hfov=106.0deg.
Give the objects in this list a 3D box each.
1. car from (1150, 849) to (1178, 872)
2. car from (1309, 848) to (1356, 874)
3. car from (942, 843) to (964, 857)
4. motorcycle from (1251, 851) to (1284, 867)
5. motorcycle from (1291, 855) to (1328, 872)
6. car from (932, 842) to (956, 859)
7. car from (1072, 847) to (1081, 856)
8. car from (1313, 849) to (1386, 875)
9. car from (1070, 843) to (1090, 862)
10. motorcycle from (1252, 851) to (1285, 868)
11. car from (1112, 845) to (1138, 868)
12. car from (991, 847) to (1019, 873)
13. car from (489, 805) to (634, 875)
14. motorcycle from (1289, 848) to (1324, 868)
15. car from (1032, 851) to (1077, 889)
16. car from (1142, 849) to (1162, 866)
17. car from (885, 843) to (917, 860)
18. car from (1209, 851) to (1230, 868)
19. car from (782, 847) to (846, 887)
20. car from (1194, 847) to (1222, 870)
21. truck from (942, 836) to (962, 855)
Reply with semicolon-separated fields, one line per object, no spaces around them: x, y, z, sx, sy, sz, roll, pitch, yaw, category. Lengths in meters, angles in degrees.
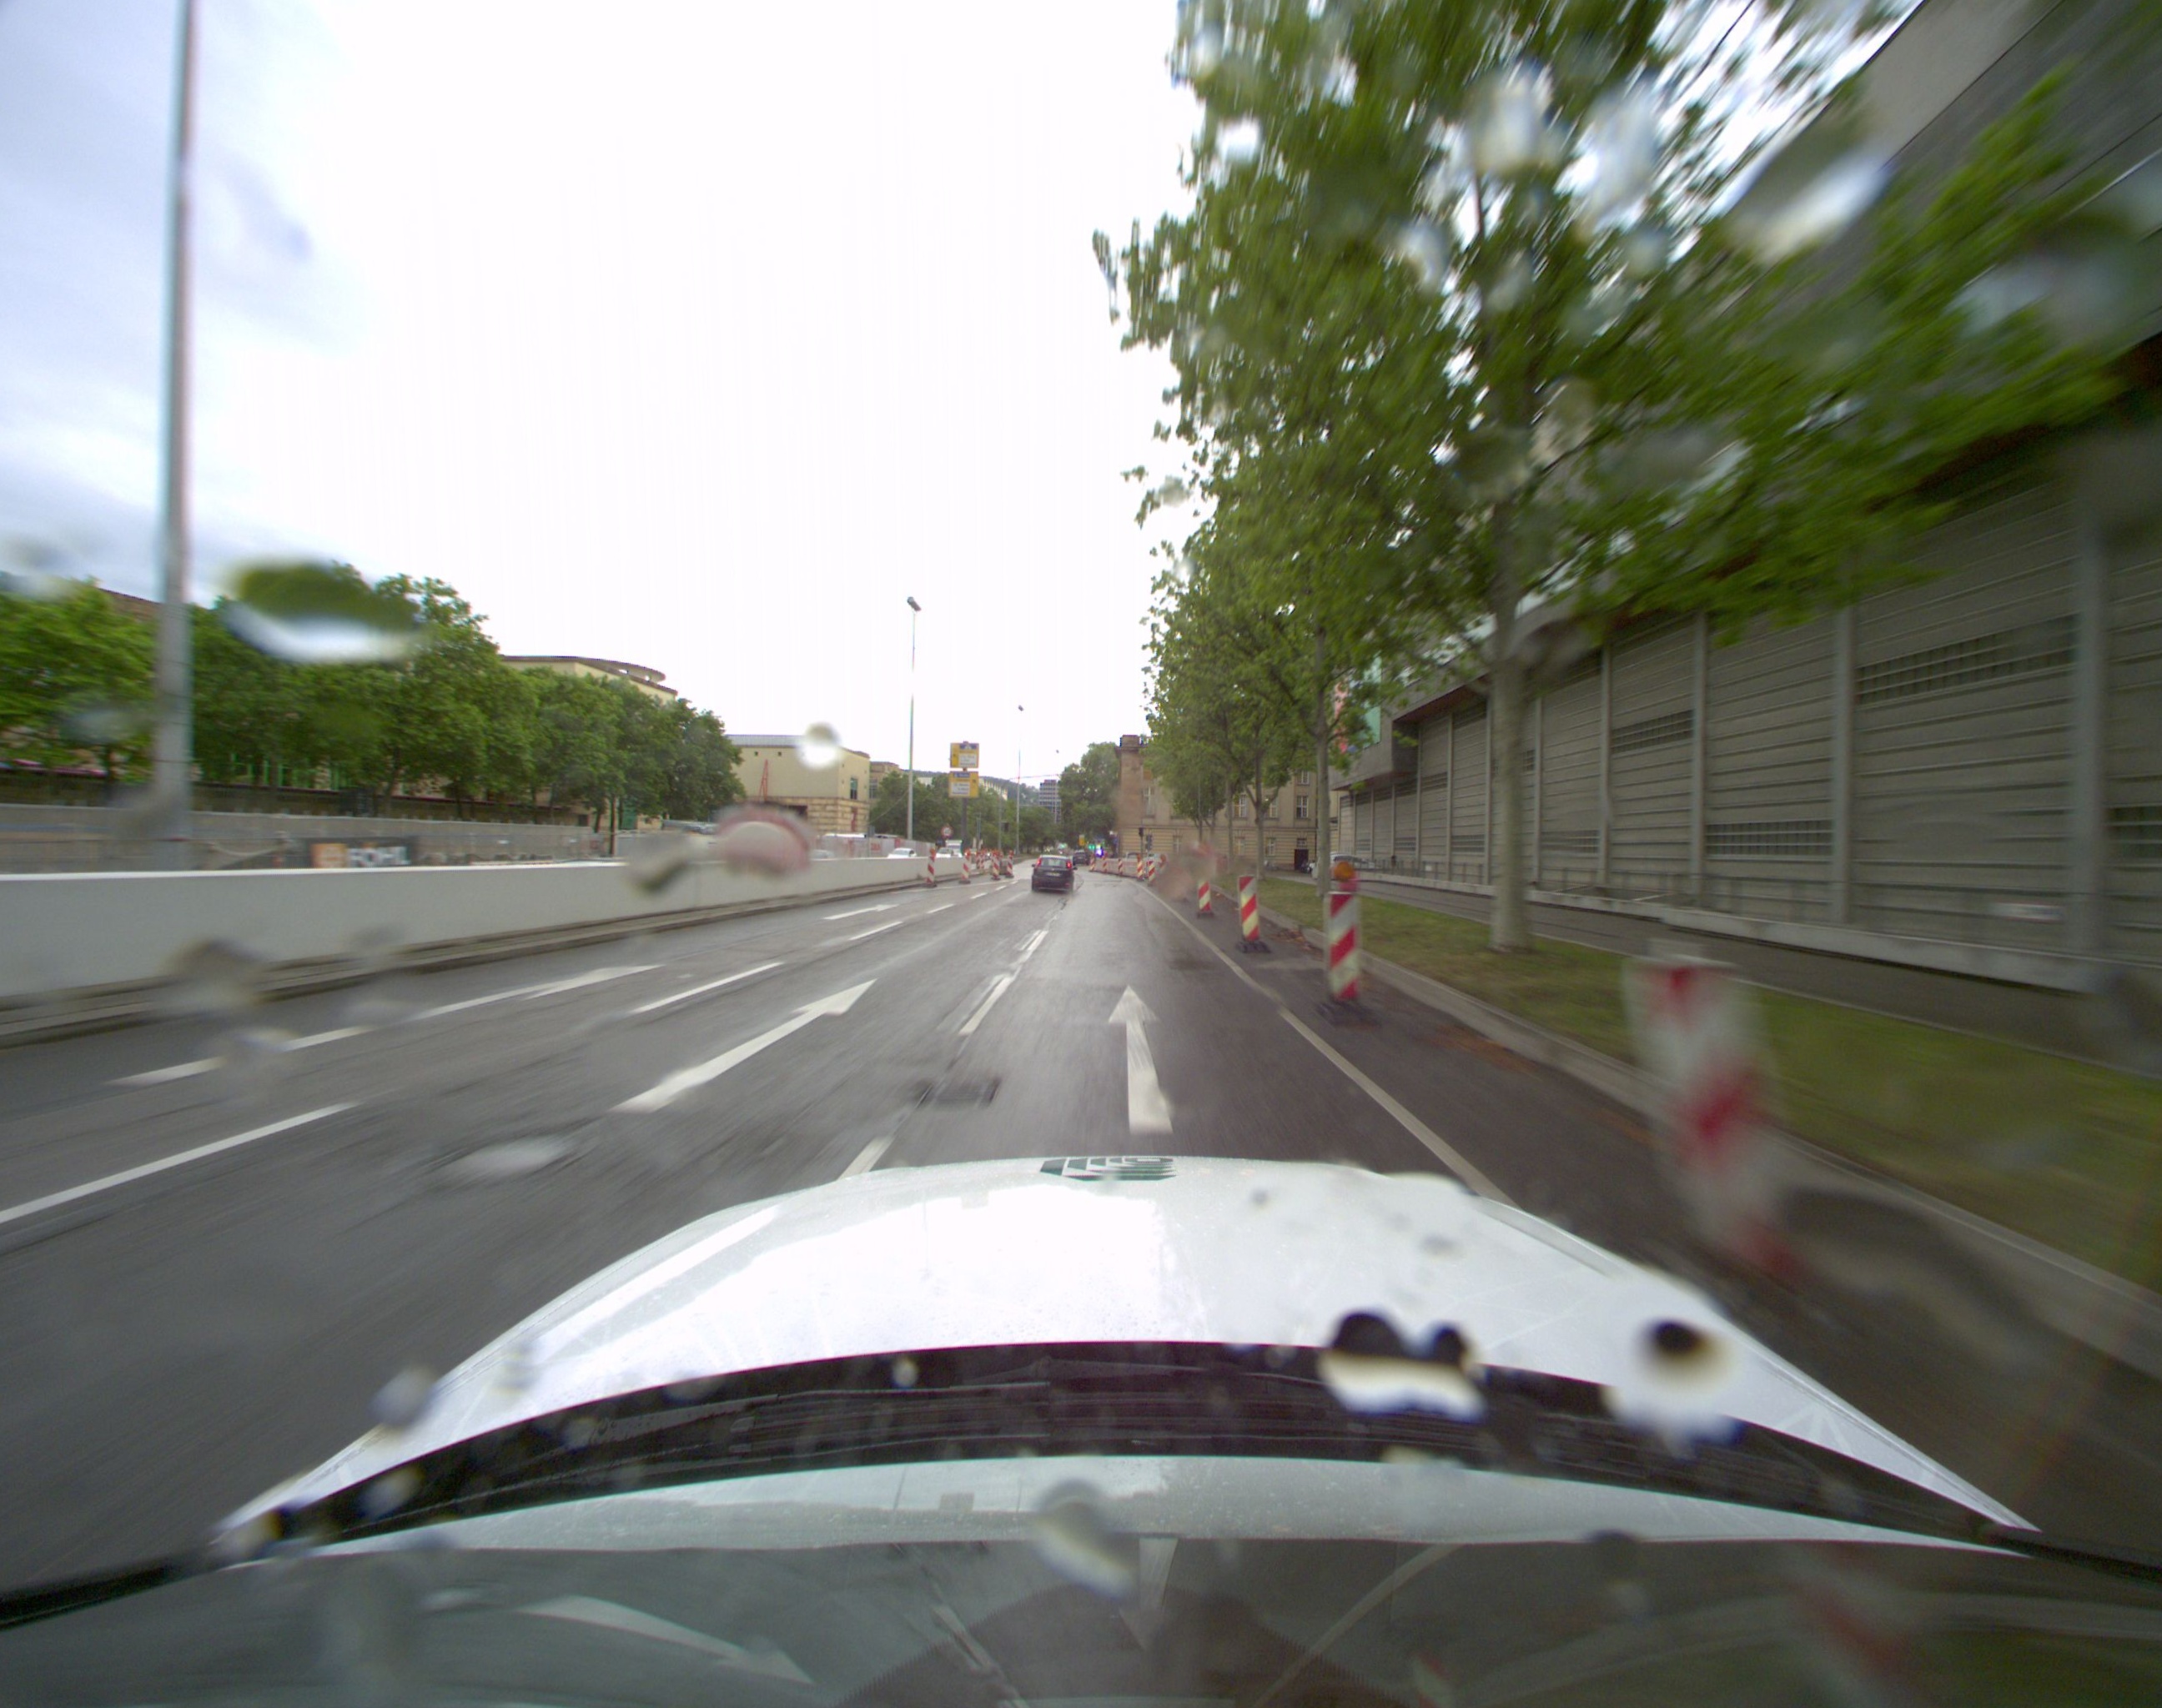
6.863;0.520;67.649;1.986;1.708;4.002;2;1;2;car
18.102;0.555;58.849;1.985;1.760;5.099;1;-1;3;car
-15.021;-0.431;95.987;1.988;1.479;3.997;3;-1;-2;car
19.386;0.516;84.768;3.145;1.543;0.891;3;-1;6;motorcycle
23.186;0.985;82.657;3.335;1.531;1.153;3;-1;3;motorcycle
-13.658;-0.342;81.407;1.662;1.522;4.000;3;-1;1;car
-1.222;-0.634;215.462;1.989;2.014;3.995;3;-1;-3;car
16.750;0.536;50.932;3.971;1.560;1.934;0;-2;2;car
-0.056;-0.178;90.396;1.986;2.013;4.002;2;1;2;car
19.275;0.529;83.743;3.146;1.543;0.891;3;-1;4;motorcycle
3.598;0.208;66.840;1.986;1.708;4.002;2;1;2;car
-4.303;0.339;46.347;1.382;1.386;3.064;0;0;-2;car
-16.728;-0.444;26.505;1.986;2.013;4.001;3;0;1;car
23.619;0.417;85.236;3.335;2.014;1.153;1;-2;3;motorcycle
-1.049;0.610;32.739;1.665;1.427;3.755;1;0;-1;car
7.609;0.365;86.774;1.983;1.708;4.008;2;1;6;car
-13.854;-0.190;62.874;1.620;1.195;3.406;3;0;1;car
14.682;0.633;86.610;1.983;1.708;4.007;2;-1;6;car
-14.658;0.673;44.935;1.986;2.013;4.001;3;0;1;car
10.218;0.318;65.759;1.983;1.708;4.008;2;1;6;car
-17.872;-1.136;113.207;2.411;2.339;5.429;3;-1;-8;truck
